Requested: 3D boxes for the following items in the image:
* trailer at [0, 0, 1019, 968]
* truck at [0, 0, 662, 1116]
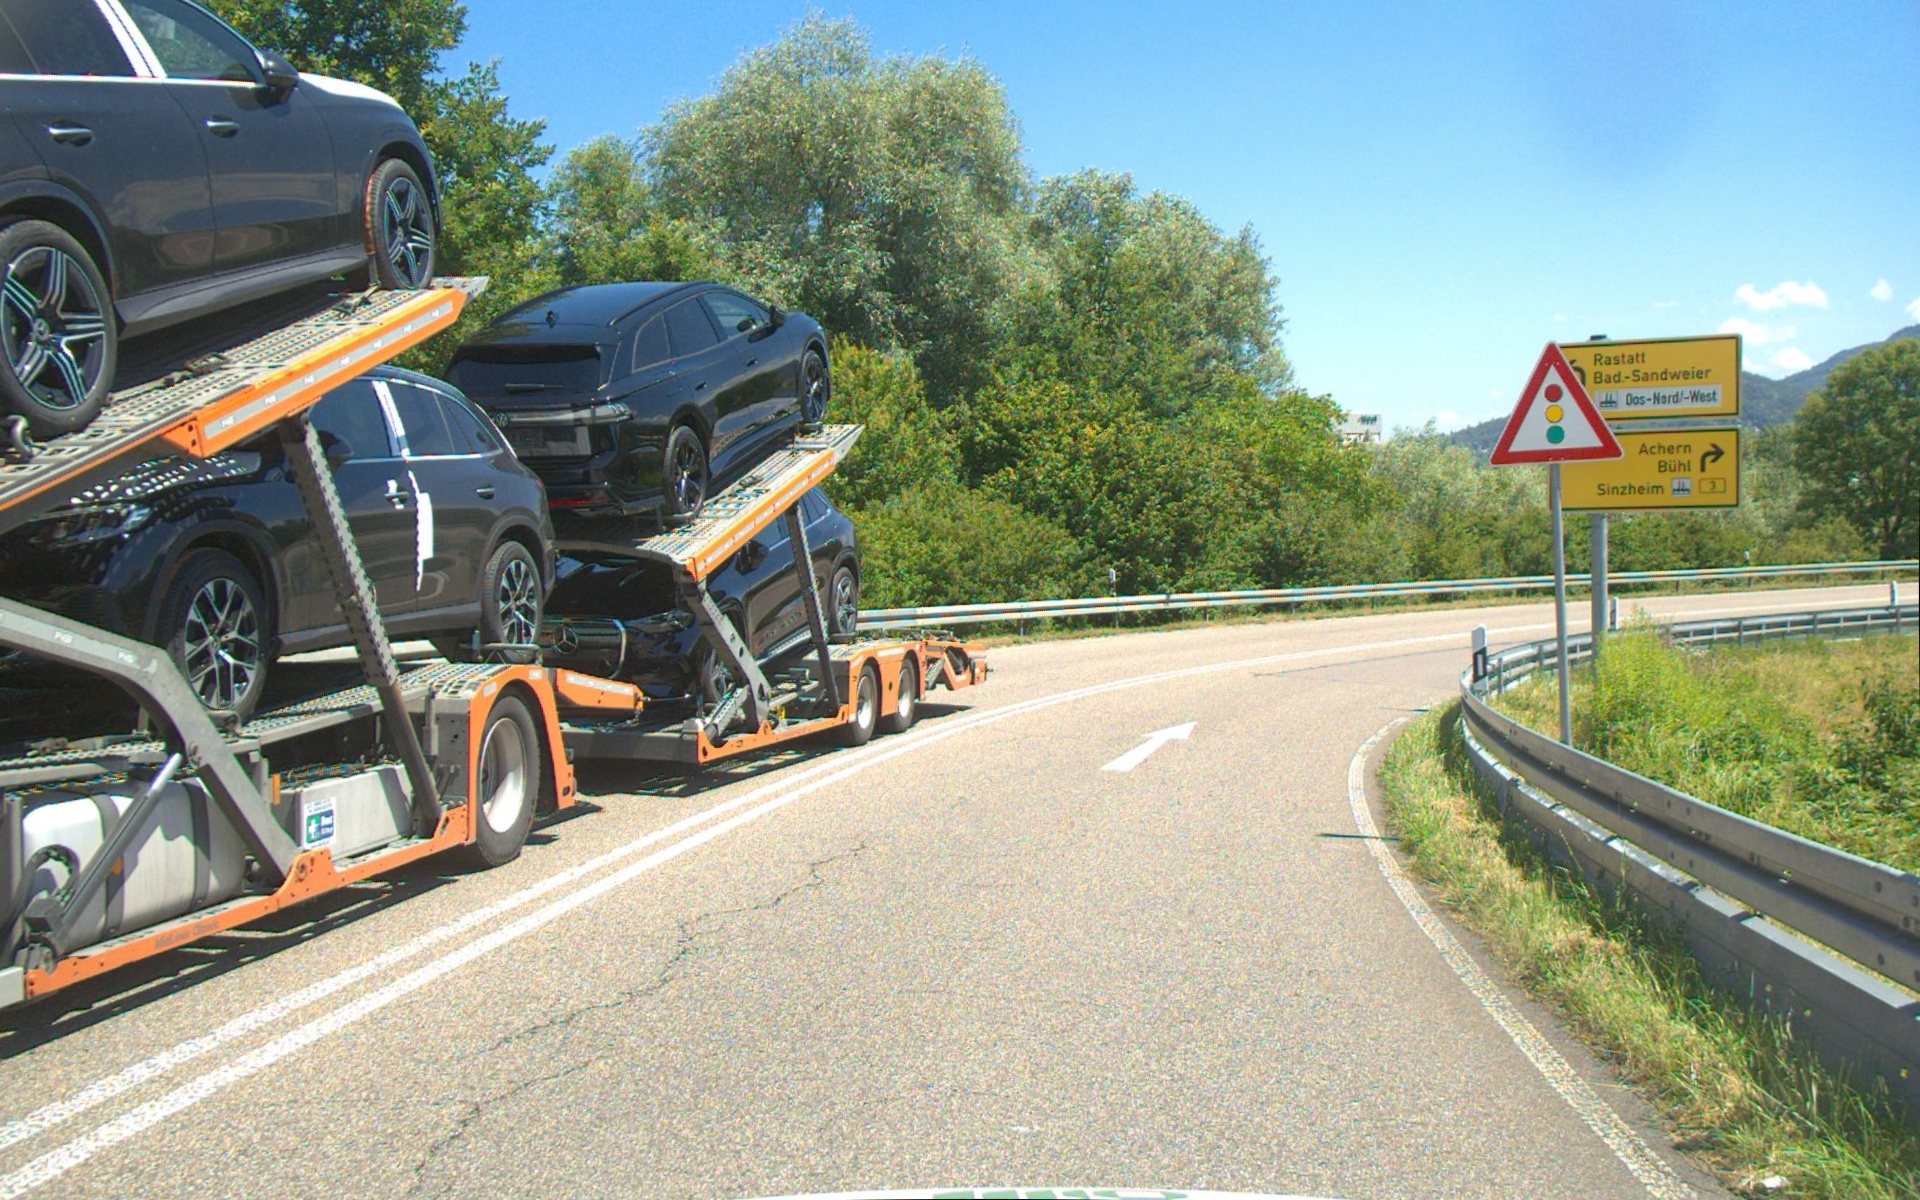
[{"bbox_3d":[-2.400,-0.683,13.371,2.733,3.966,13.998,0,1,15],"label":"trailer"},{"bbox_3d":[-3.825,-0.583,5.777,2.730,3.966,8.788,0,1,9],"label":"truck"}]
